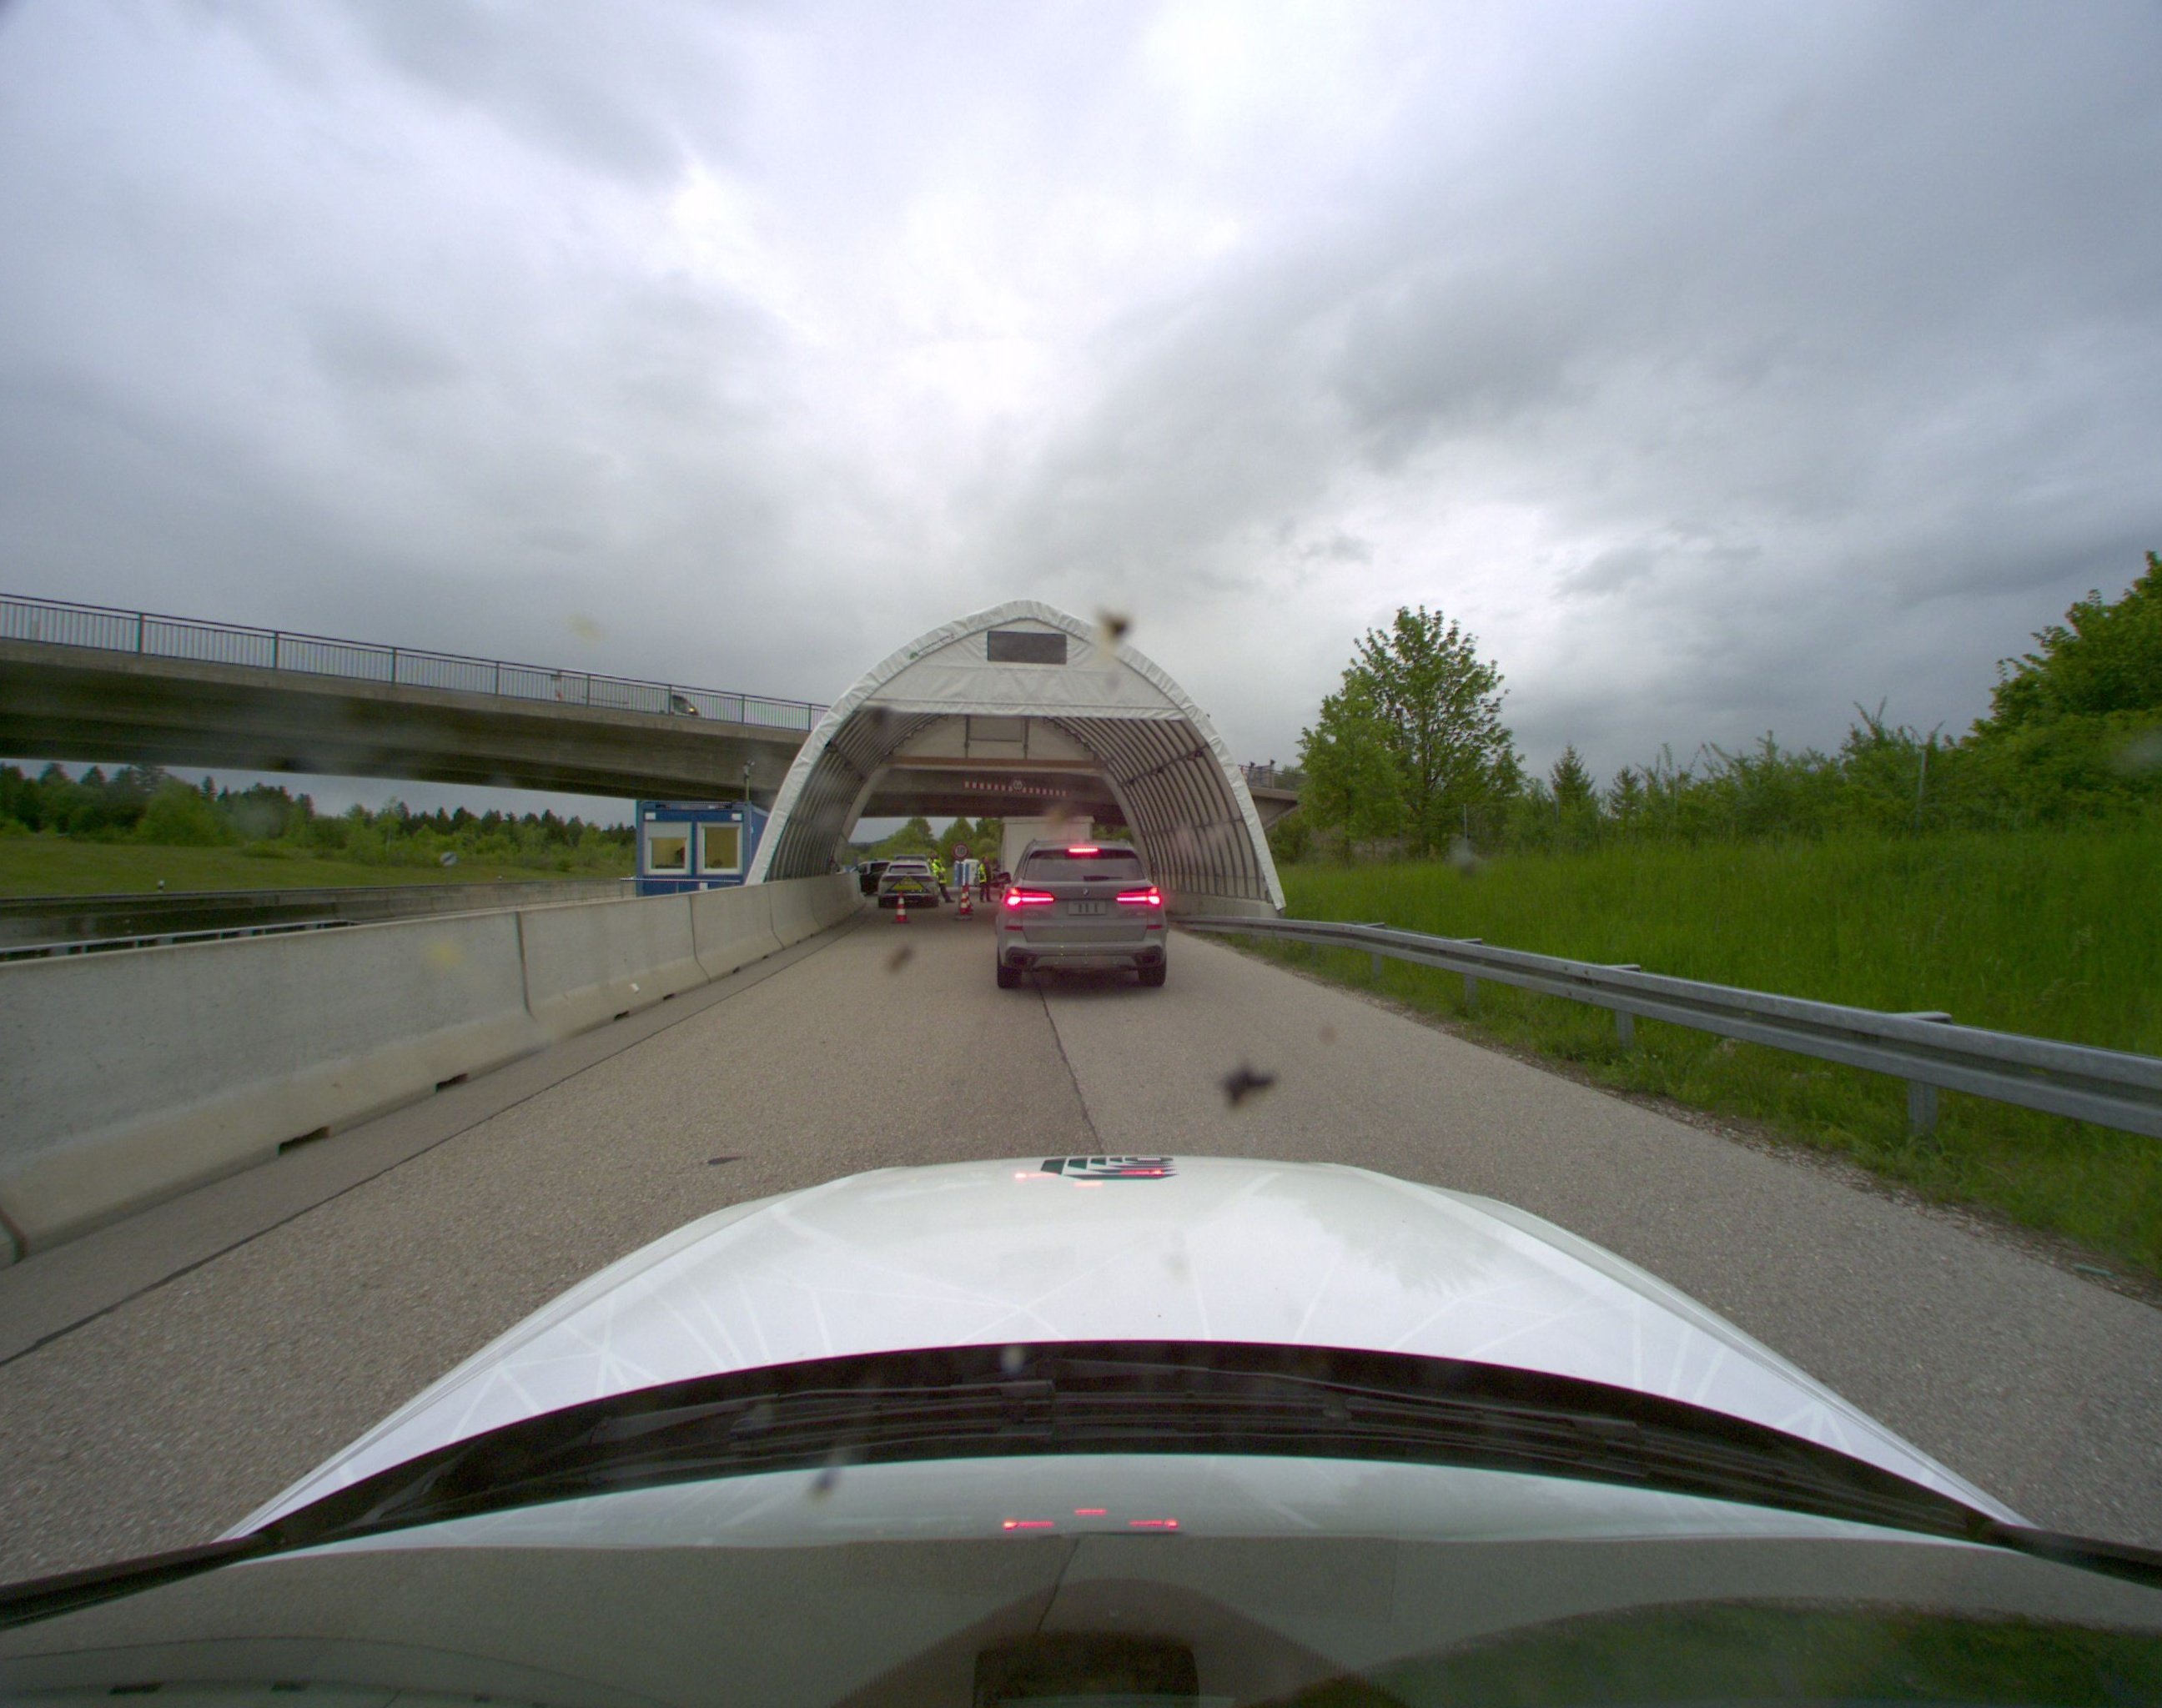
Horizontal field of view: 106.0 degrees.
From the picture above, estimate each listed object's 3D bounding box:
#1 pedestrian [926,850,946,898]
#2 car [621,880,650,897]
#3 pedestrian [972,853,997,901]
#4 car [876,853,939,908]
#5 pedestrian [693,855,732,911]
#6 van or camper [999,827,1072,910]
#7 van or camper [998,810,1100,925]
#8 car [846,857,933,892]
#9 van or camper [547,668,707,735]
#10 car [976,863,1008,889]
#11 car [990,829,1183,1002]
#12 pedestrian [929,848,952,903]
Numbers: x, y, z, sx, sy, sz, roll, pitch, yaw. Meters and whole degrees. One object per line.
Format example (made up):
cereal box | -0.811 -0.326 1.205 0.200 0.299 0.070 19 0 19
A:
pedestrian | -5.409 0.734 30.411 0.607 1.754 0.665 -1 -1 -4
car | -55.669 4.292 101.868 1.987 1.955 5.084 -1 -1 -14
pedestrian | -3.529 0.824 29.782 0.756 1.722 0.778 -1 -1 -16
car | -5.774 0.855 27.161 1.879 1.647 3.983 -1 -1 -12
pedestrian | -9.242 0.718 20.437 0.606 1.373 0.629 -2 -1 10
van or camper | -1.686 0.476 27.800 2.102 2.519 5.537 -1 -1 -7
van or camper | -1.051 0.341 21.706 2.227 2.552 6.595 -1 -1 -6
car | -11.630 1.260 49.505 4.777 2.014 1.845 -1 -1 9
van or camper | -18.343 -6.098 33.081 5.477 1.770 1.875 0 -1 -37
car | -6.479 1.567 58.839 1.994 1.722 3.882 -1 -1 -11
car | -0.148 0.660 10.607 1.992 1.765 3.990 -1 -1 -7
pedestrian | -5.079 0.764 29.333 0.750 1.919 0.759 -1 -1 -13
